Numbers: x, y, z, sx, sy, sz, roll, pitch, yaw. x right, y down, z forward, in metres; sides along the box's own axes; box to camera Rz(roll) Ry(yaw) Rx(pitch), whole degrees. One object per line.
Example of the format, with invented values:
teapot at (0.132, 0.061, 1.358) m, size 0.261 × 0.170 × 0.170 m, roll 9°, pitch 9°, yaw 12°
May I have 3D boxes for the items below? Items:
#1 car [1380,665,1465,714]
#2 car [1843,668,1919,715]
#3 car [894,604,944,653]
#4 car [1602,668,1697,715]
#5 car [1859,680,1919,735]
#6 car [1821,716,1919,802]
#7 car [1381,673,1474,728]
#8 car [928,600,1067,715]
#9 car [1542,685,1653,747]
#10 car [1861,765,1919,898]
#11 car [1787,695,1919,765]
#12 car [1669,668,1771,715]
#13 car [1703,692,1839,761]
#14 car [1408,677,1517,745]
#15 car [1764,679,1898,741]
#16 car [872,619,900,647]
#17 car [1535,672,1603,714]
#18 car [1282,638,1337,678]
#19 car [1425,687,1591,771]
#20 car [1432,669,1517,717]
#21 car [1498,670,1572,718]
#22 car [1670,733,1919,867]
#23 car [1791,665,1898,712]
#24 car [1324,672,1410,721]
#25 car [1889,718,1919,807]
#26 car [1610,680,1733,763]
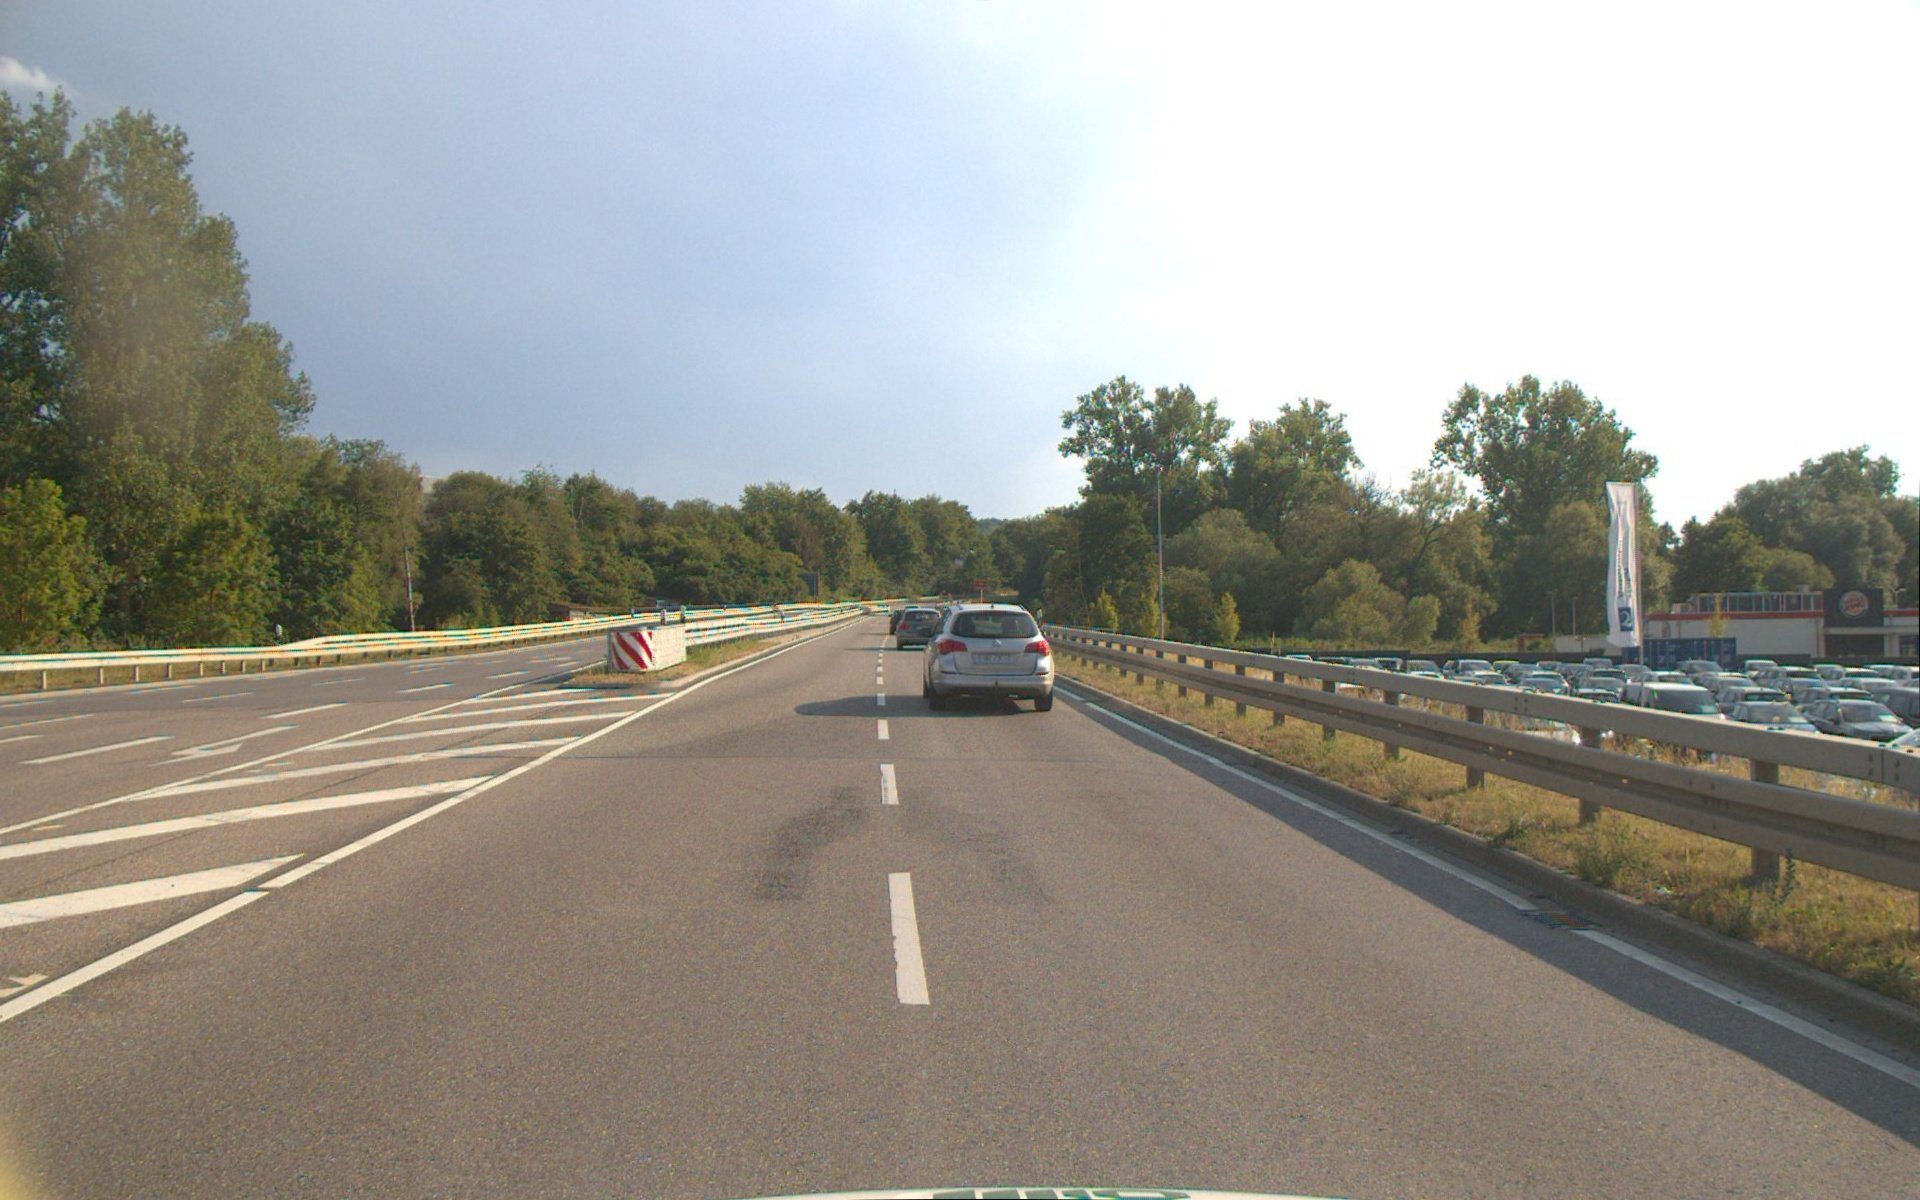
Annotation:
car at (17.963, 3.461, 64.488) m, size 1.798 × 1.746 × 4.664 m, roll 1°, pitch -1°, yaw -3°
car at (36.448, 3.551, 64.368) m, size 1.840 × 1.665 × 4.731 m, roll 1°, pitch -1°, yaw 3°
car at (-1.442, 0.991, 57.548) m, size 1.633 × 1.601 × 3.998 m, roll 2°, pitch -1°, yaw -2°
car at (26.909, 3.543, 64.720) m, size 1.841 × 1.665 × 4.730 m, roll 1°, pitch -1°, yaw 2°
car at (32.205, 3.609, 55.400) m, size 1.840 × 1.665 × 4.731 m, roll 1°, pitch -1°, yaw 3°
car at (20.908, 3.387, 35.050) m, size 4.331 × 1.665 × 1.887 m, roll 1°, pitch -1°, yaw 5°
car at (16.024, 3.416, 56.943) m, size 1.841 × 1.665 × 4.729 m, roll 1°, pitch -1°, yaw 0°
car at (0.467, 0.819, 24.335) m, size 1.773 × 1.512 × 3.998 m, roll 1°, pitch -1°, yaw -2°
car at (19.634, 3.546, 51.136) m, size 1.840 × 1.665 × 4.731 m, roll 1°, pitch -1°, yaw 3°
car at (13.622, 3.113, 21.047) m, size 1.703 × 1.654 × 4.307 m, roll 1°, pitch -1°, yaw -5°
car at (23.772, 3.394, 43.873) m, size 1.840 × 1.548 × 4.733 m, roll 1°, pitch -1°, yaw 8°
car at (29.884, 3.574, 65.193) m, size 1.841 × 1.665 × 4.729 m, roll 1°, pitch -1°, yaw 0°
car at (21.553, 3.332, 44.148) m, size 1.840 × 1.548 × 4.733 m, roll 1°, pitch -1°, yaw 8°
car at (14.045, 3.068, 46.482) m, size 1.840 × 1.654 × 4.731 m, roll 1°, pitch -1°, yaw 3°
car at (26.594, 3.331, 50.690) m, size 1.840 × 1.665 × 4.731 m, roll 1°, pitch -1°, yaw 3°
car at (-4.156, 1.848, 93.234) m, size 1.462 × 1.502 × 3.357 m, roll 1°, pitch -1°, yaw -2°
car at (27.287, 4.127, 74.240) m, size 1.738 × 1.713 × 4.001 m, roll 1°, pitch -1°, yaw 3°
car at (15.817, 2.608, 74.960) m, size 1.738 × 1.713 × 4.000 m, roll 1°, pitch -1°, yaw 1°
car at (12.594, 2.931, 38.332) m, size 1.844 × 1.654 × 4.722 m, roll 1°, pitch -1°, yaw -7°
car at (20.184, 3.628, 65.123) m, size 1.841 × 1.665 × 4.728 m, roll 1°, pitch -1°, yaw 0°
car at (22.537, 3.667, 64.950) m, size 1.737 × 1.713 × 4.002 m, roll 1°, pitch -1°, yaw 4°
car at (13.111, 3.088, 26.244) m, size 1.702 × 1.654 × 4.309 m, roll 1°, pitch -1°, yaw -2°
car at (34.664, 3.433, 64.947) m, size 1.840 × 1.665 × 4.731 m, roll 1°, pitch -1°, yaw 3°
car at (15.732, 3.710, 64.157) m, size 1.959 × 1.679 × 4.726 m, roll 1°, pitch -1°, yaw -3°
car at (20.839, 3.238, 32.289) m, size 4.325 × 1.635 × 1.802 m, roll 1°, pitch 0°, yaw 5°
car at (19.164, 3.230, 44.746) m, size 1.840 × 1.965 × 4.733 m, roll 1°, pitch -1°, yaw 8°
